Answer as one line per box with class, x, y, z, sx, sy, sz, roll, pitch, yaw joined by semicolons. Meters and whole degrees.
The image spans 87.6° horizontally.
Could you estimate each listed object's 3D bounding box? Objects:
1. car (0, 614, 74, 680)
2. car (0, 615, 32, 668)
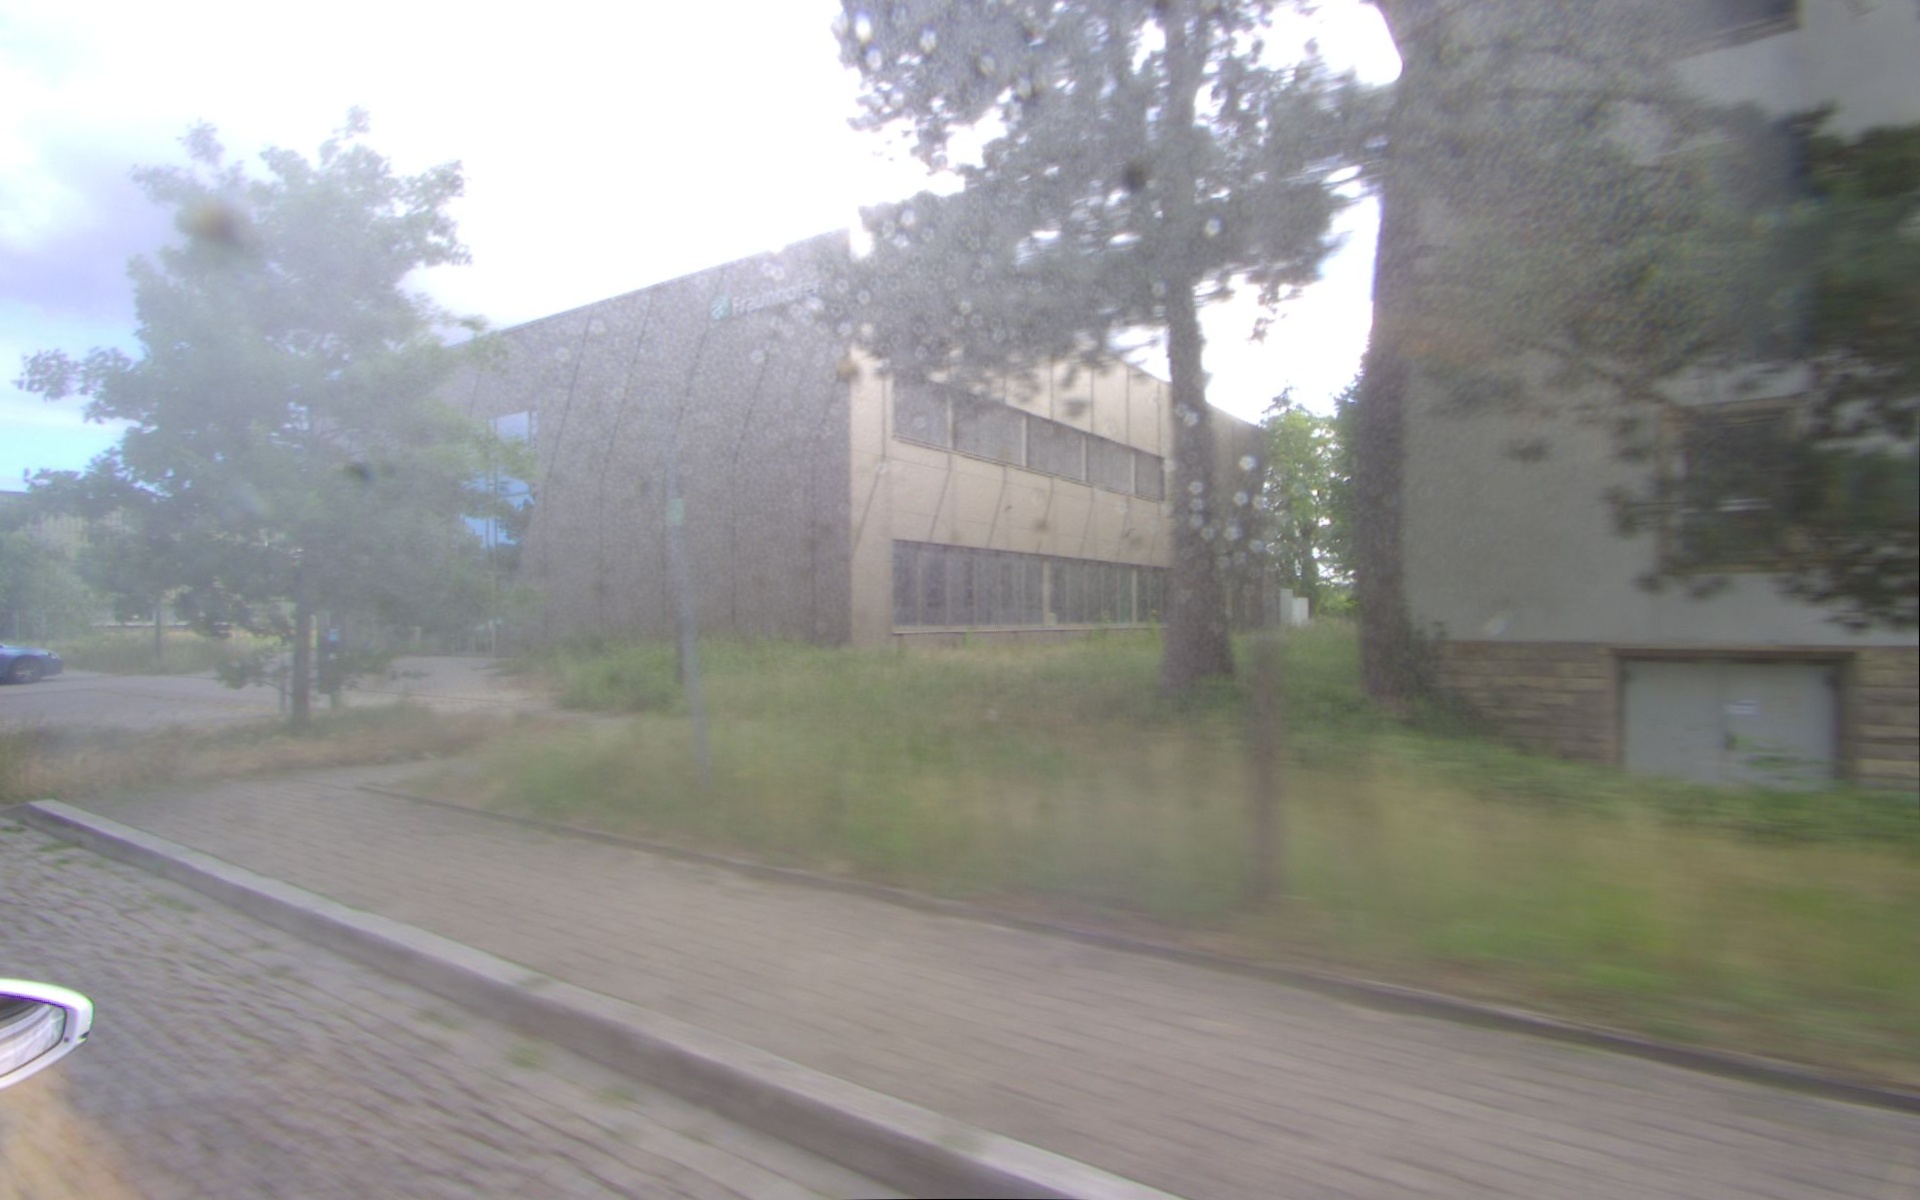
car;-24.513;1.166;24.010;1.971;1.552;4.509;0;0;31
car;-29.993;1.245;28.825;1.973;1.552;4.503;0;0;35
